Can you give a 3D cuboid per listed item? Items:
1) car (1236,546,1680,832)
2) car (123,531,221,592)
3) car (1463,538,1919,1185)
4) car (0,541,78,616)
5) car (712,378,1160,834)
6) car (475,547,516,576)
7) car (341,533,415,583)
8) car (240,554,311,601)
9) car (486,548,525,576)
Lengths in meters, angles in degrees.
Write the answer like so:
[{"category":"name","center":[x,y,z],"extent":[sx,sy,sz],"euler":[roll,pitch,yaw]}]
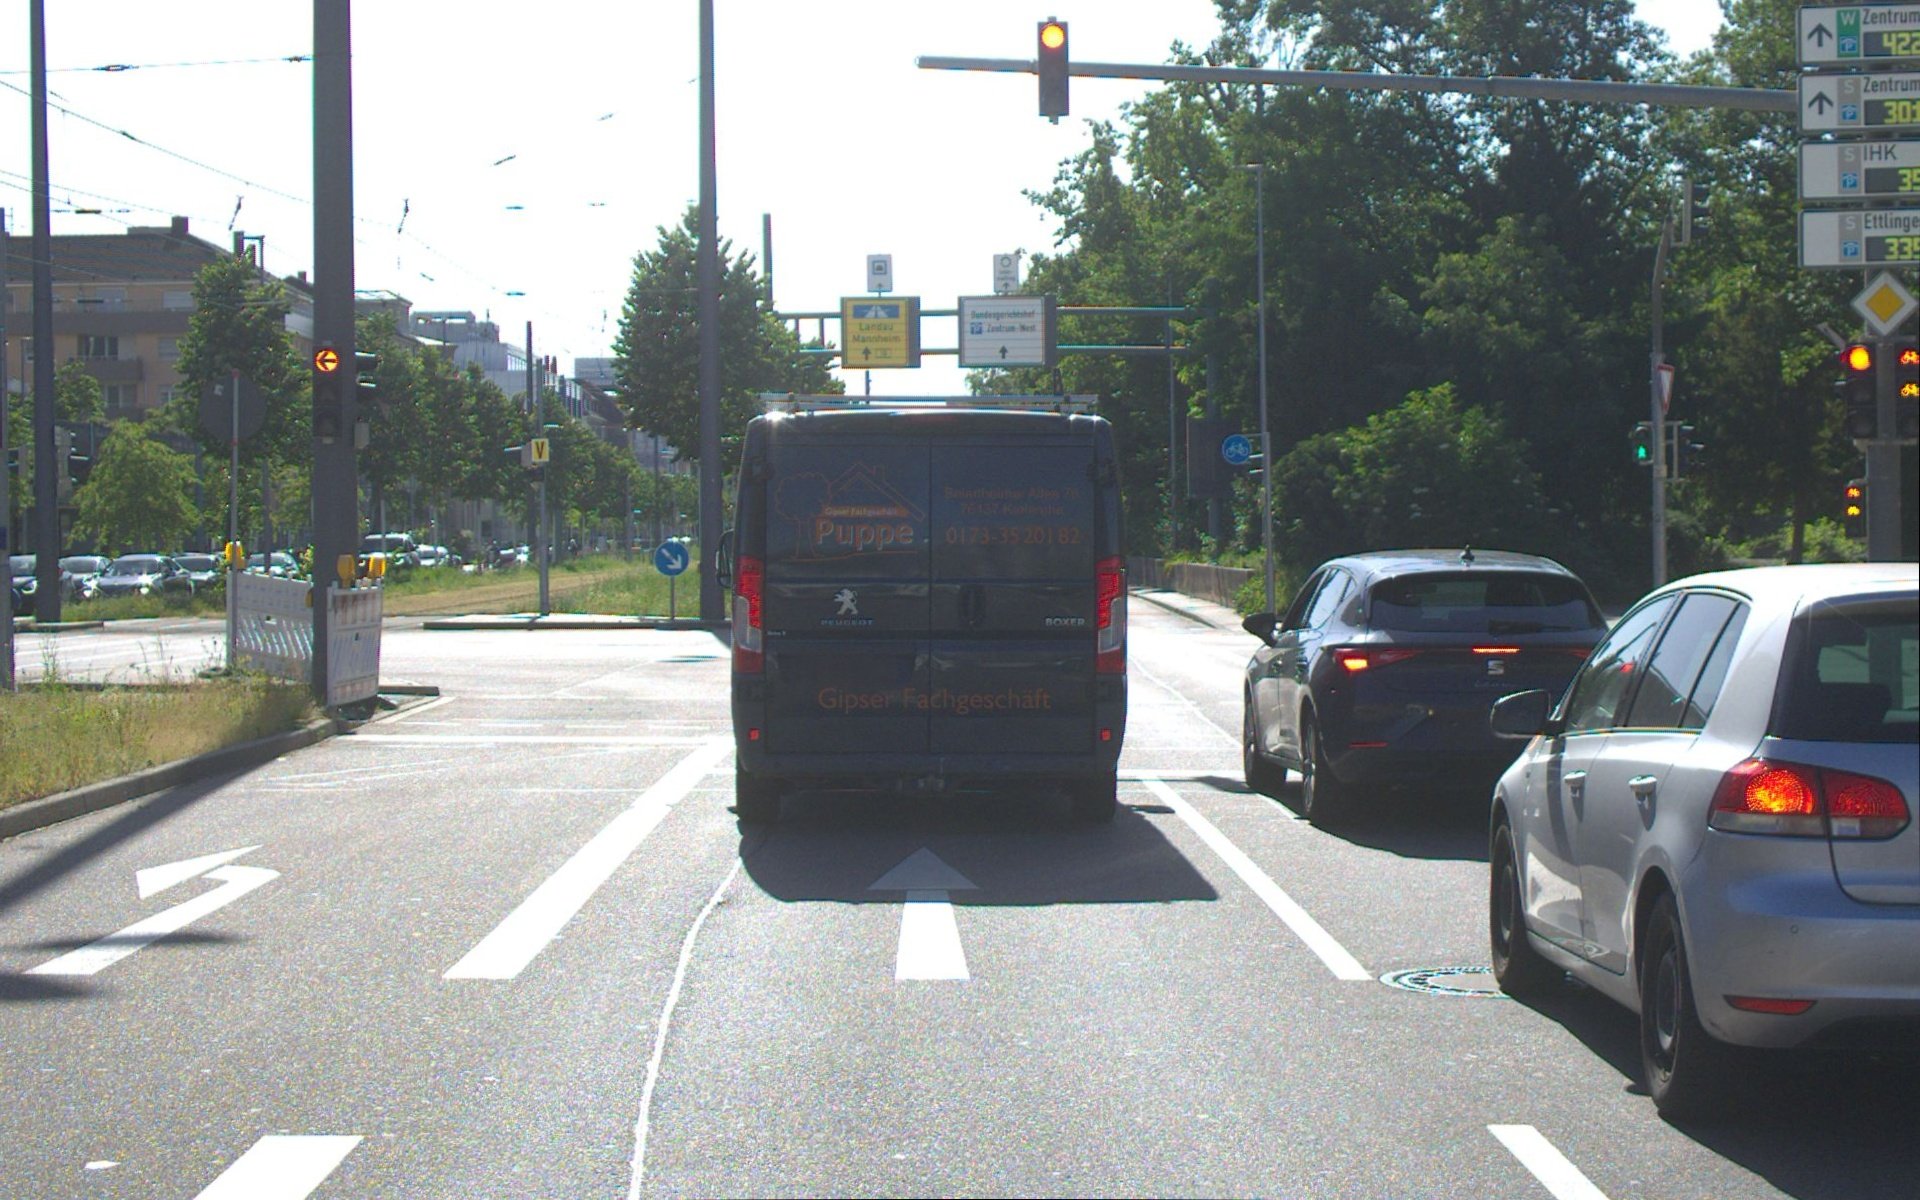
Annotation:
[{"category":"car","center":[2.661,0.423,19.219],"extent":[1.792,1.423,3.850],"euler":[1,1,-2]},{"category":"car","center":[-21.996,-1.083,96.095],"extent":[1.790,1.645,4.000],"euler":[-1,1,0]},{"category":"car","center":[2.655,0.592,10.192],"extent":[1.749,1.522,4.005],"euler":[0,1,0]},{"category":"car","center":[-21.776,-0.508,79.267],"extent":[1.790,1.645,4.000],"euler":[-1,1,0]},{"category":"car","center":[-0.176,-0.033,19.450],"extent":[2.218,2.259,4.485],"euler":[1,2,-1]},{"category":"car","center":[-27.298,-2.265,202.140],"extent":[1.790,1.645,4.000],"euler":[-1,1,0]},{"category":"car","center":[-19.772,-1.444,116.986],"extent":[1.790,1.645,4.000],"euler":[-1,1,0]},{"category":"car","center":[-25.199,-0.849,126.645],"extent":[1.790,1.645,4.000],"euler":[-1,1,0]},{"category":"car","center":[-27.990,-2.370,211.891],"extent":[1.790,1.645,4.000],"euler":[-1,1,0]}]
